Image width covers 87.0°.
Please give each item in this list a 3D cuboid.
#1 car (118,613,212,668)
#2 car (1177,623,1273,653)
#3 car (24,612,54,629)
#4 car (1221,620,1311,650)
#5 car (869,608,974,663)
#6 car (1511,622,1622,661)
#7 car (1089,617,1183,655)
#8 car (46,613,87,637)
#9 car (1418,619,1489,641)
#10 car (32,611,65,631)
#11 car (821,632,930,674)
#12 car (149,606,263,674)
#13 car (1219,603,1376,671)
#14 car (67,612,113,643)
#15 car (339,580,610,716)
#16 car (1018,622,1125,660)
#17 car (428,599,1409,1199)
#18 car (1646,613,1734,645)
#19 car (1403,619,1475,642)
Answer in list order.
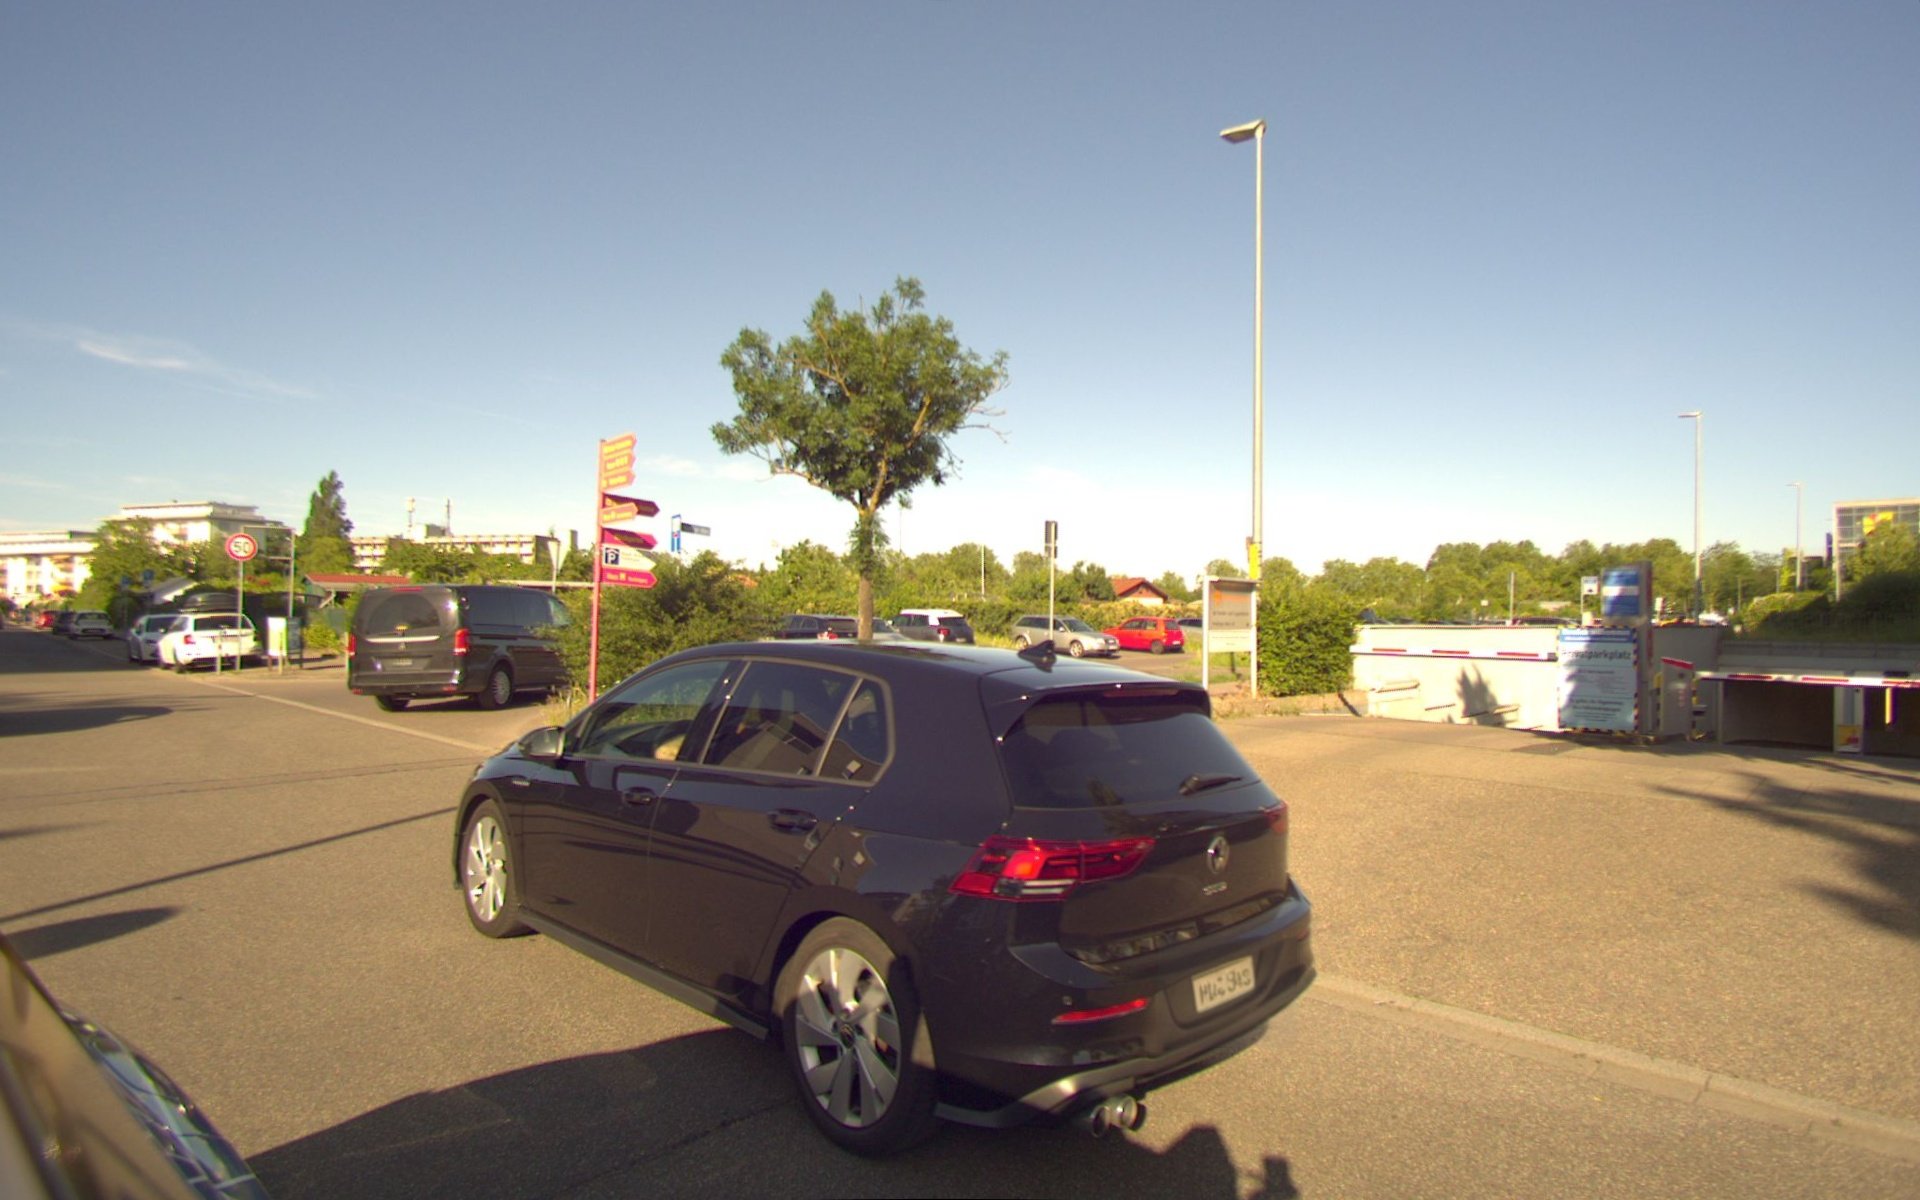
[{"bbox_3d":[-24.038,1.159,30.541,1.727,1.456,4.544,-3,2,-44],"label":"car"},{"bbox_3d":[11.585,1.638,44.430,3.847,1.273,1.489,-1,-2,44],"label":"car"},{"bbox_3d":[-76.649,1.702,84.230,1.676,1.380,3.913,1,-1,-45],"label":"car"},{"bbox_3d":[14.551,1.661,48.172,3.847,1.273,1.489,0,-4,44],"label":"car"},{"bbox_3d":[-1.331,1.131,33.494,1.486,1.707,3.853,1,-1,-39],"label":"car"},{"bbox_3d":[27.670,1.852,46.245,1.970,1.714,4.003,1,-2,-44],"label":"car"},{"bbox_3d":[7.252,1.441,41.956,1.486,1.496,3.853,1,-1,-39],"label":"car"},{"bbox_3d":[-56.624,1.551,64.104,1.676,1.434,4.519,-2,1,-45],"label":"car"},{"bbox_3d":[30.894,1.885,63.410,3.689,1.273,1.489,0,-4,44],"label":"car"},{"bbox_3d":[-69.557,1.588,77.219,1.676,1.440,4.388,1,-1,-45],"label":"car"},{"bbox_3d":[-2.691,1.613,31.549,1.486,1.160,3.853,1,-1,-39],"label":"car"},{"bbox_3d":[-19.324,0.987,25.867,1.676,1.525,4.519,-3,1,-45],"label":"car"},{"bbox_3d":[9.539,1.013,28.880,1.486,1.803,4.111,1,-1,-39],"label":"car"},{"bbox_3d":[-44.378,1.376,51.609,1.510,1.499,3.404,0,-1,-45],"label":"car"},{"bbox_3d":[-7.685,0.691,16.750,1.934,1.882,5.253,-1,0,0],"label":"car"},{"bbox_3d":[4.114,1.494,37.637,3.847,1.273,1.489,0,-4,44],"label":"car"},{"bbox_3d":[-0.563,0.778,4.154,4.088,1.462,1.684,-1,-3,45],"label":"car"},{"bbox_3d":[48.169,1.904,66.827,1.969,2.029,4.398,1,-1,-42],"label":"car"},{"bbox_3d":[29.107,1.873,61.577,3.689,1.273,1.489,0,-4,44],"label":"car"}]
